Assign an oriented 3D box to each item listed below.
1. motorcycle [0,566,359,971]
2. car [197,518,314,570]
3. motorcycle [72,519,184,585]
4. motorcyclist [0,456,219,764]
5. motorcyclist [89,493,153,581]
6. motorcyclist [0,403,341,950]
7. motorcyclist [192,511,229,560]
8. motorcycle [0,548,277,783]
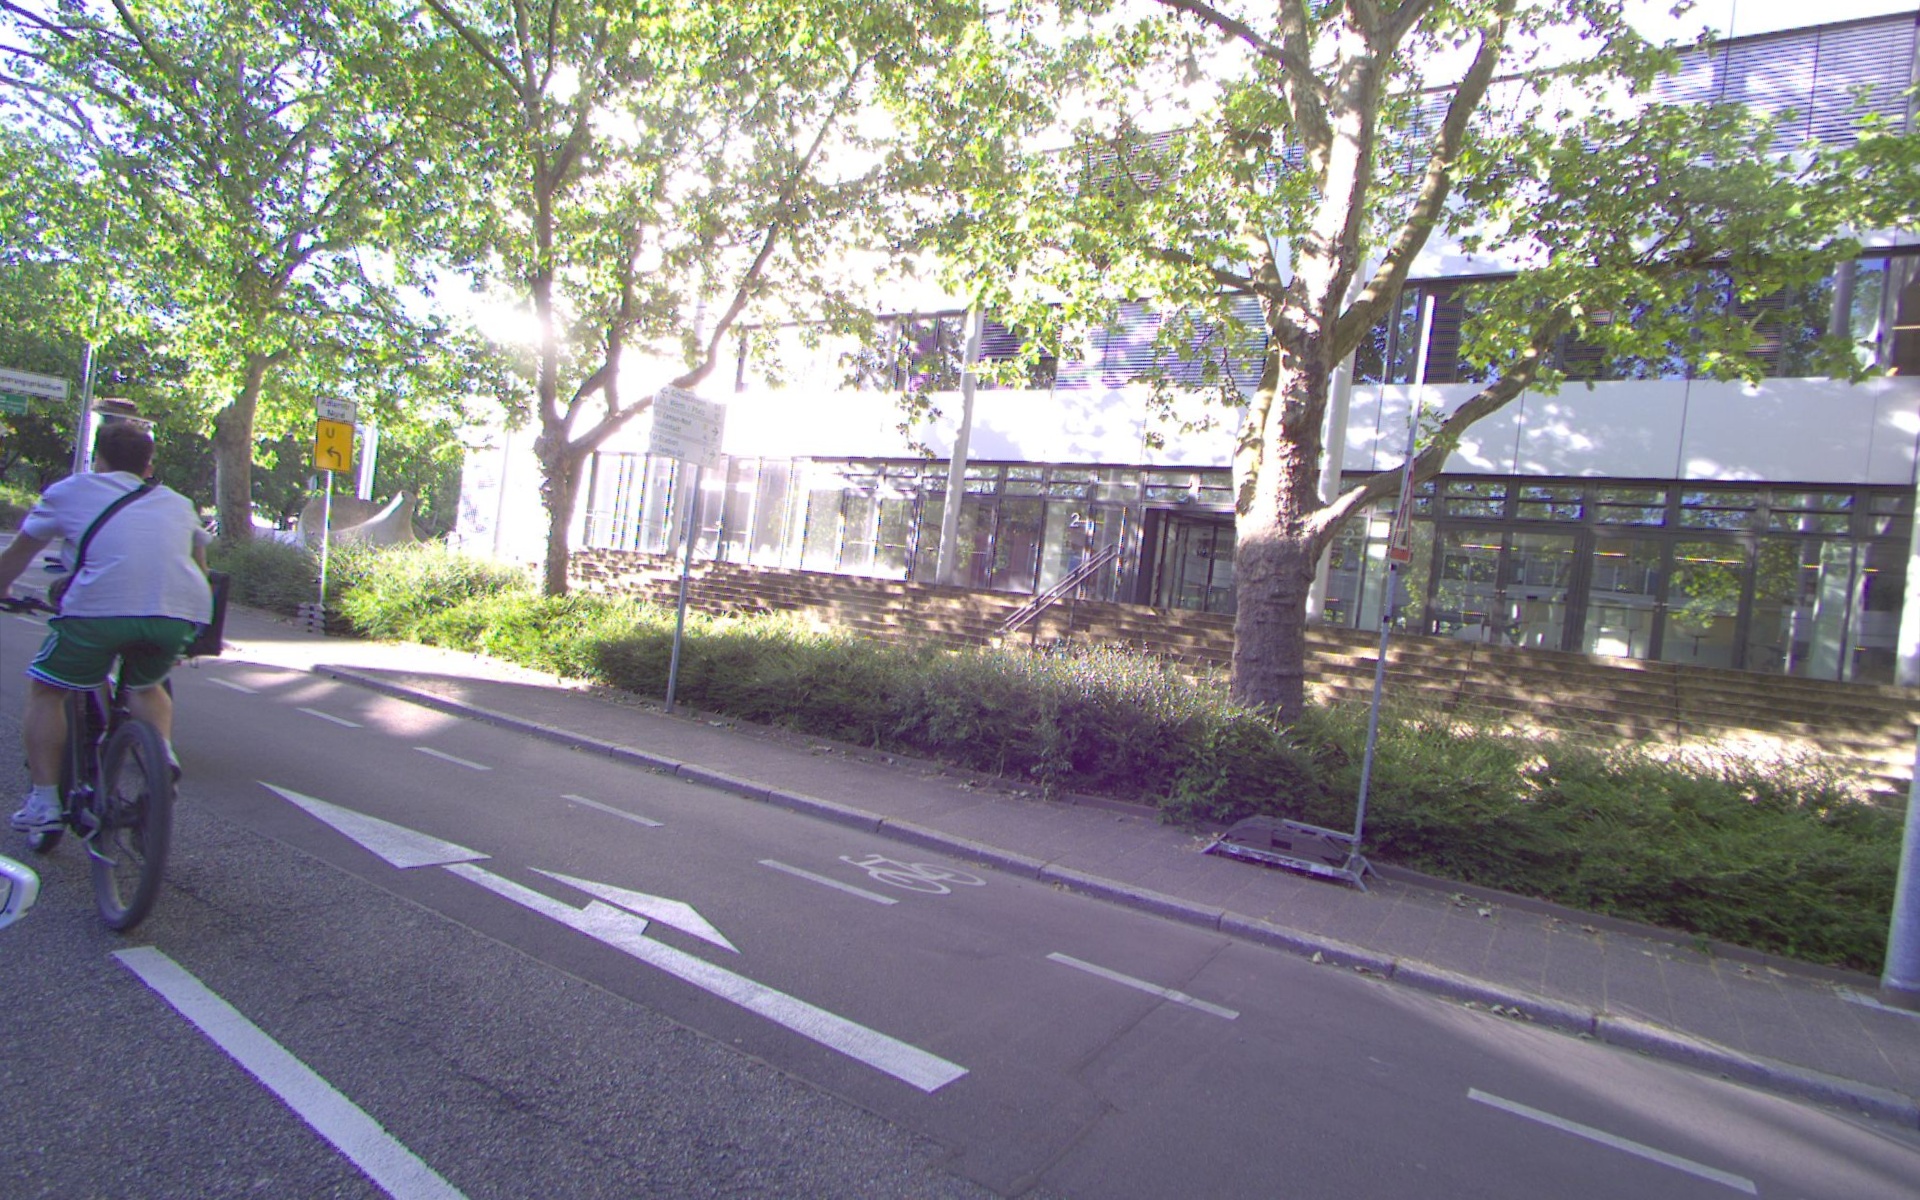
[{"bbox_3d":[-3.433,0.536,4.038,1.897,1.182,0.864,6,-2,32],"label":"motorcycle"},{"bbox_3d":[-32.706,-2.568,46.831,1.708,1.792,3.996,7,-1,30],"label":"car"},{"bbox_3d":[-19.231,-1.096,23.290,0.712,1.257,1.782,6,-2,37],"label":"motorcycle"},{"bbox_3d":[-5.308,0.065,6.267,0.738,1.763,0.718,6,-1,31],"label":"motorcyclist"},{"bbox_3d":[-19.289,-1.438,23.137,0.662,1.885,0.823,6,-1,37],"label":"motorcyclist"},{"bbox_3d":[-3.180,0.248,3.897,0.898,1.809,0.832,6,-1,31],"label":"motorcyclist"},{"bbox_3d":[-30.877,-2.646,41.430,0.370,1.899,0.983,6,-1,36],"label":"motorcyclist"},{"bbox_3d":[-5.356,0.357,6.347,2.199,1.145,0.798,6,-2,32],"label":"motorcycle"}]
